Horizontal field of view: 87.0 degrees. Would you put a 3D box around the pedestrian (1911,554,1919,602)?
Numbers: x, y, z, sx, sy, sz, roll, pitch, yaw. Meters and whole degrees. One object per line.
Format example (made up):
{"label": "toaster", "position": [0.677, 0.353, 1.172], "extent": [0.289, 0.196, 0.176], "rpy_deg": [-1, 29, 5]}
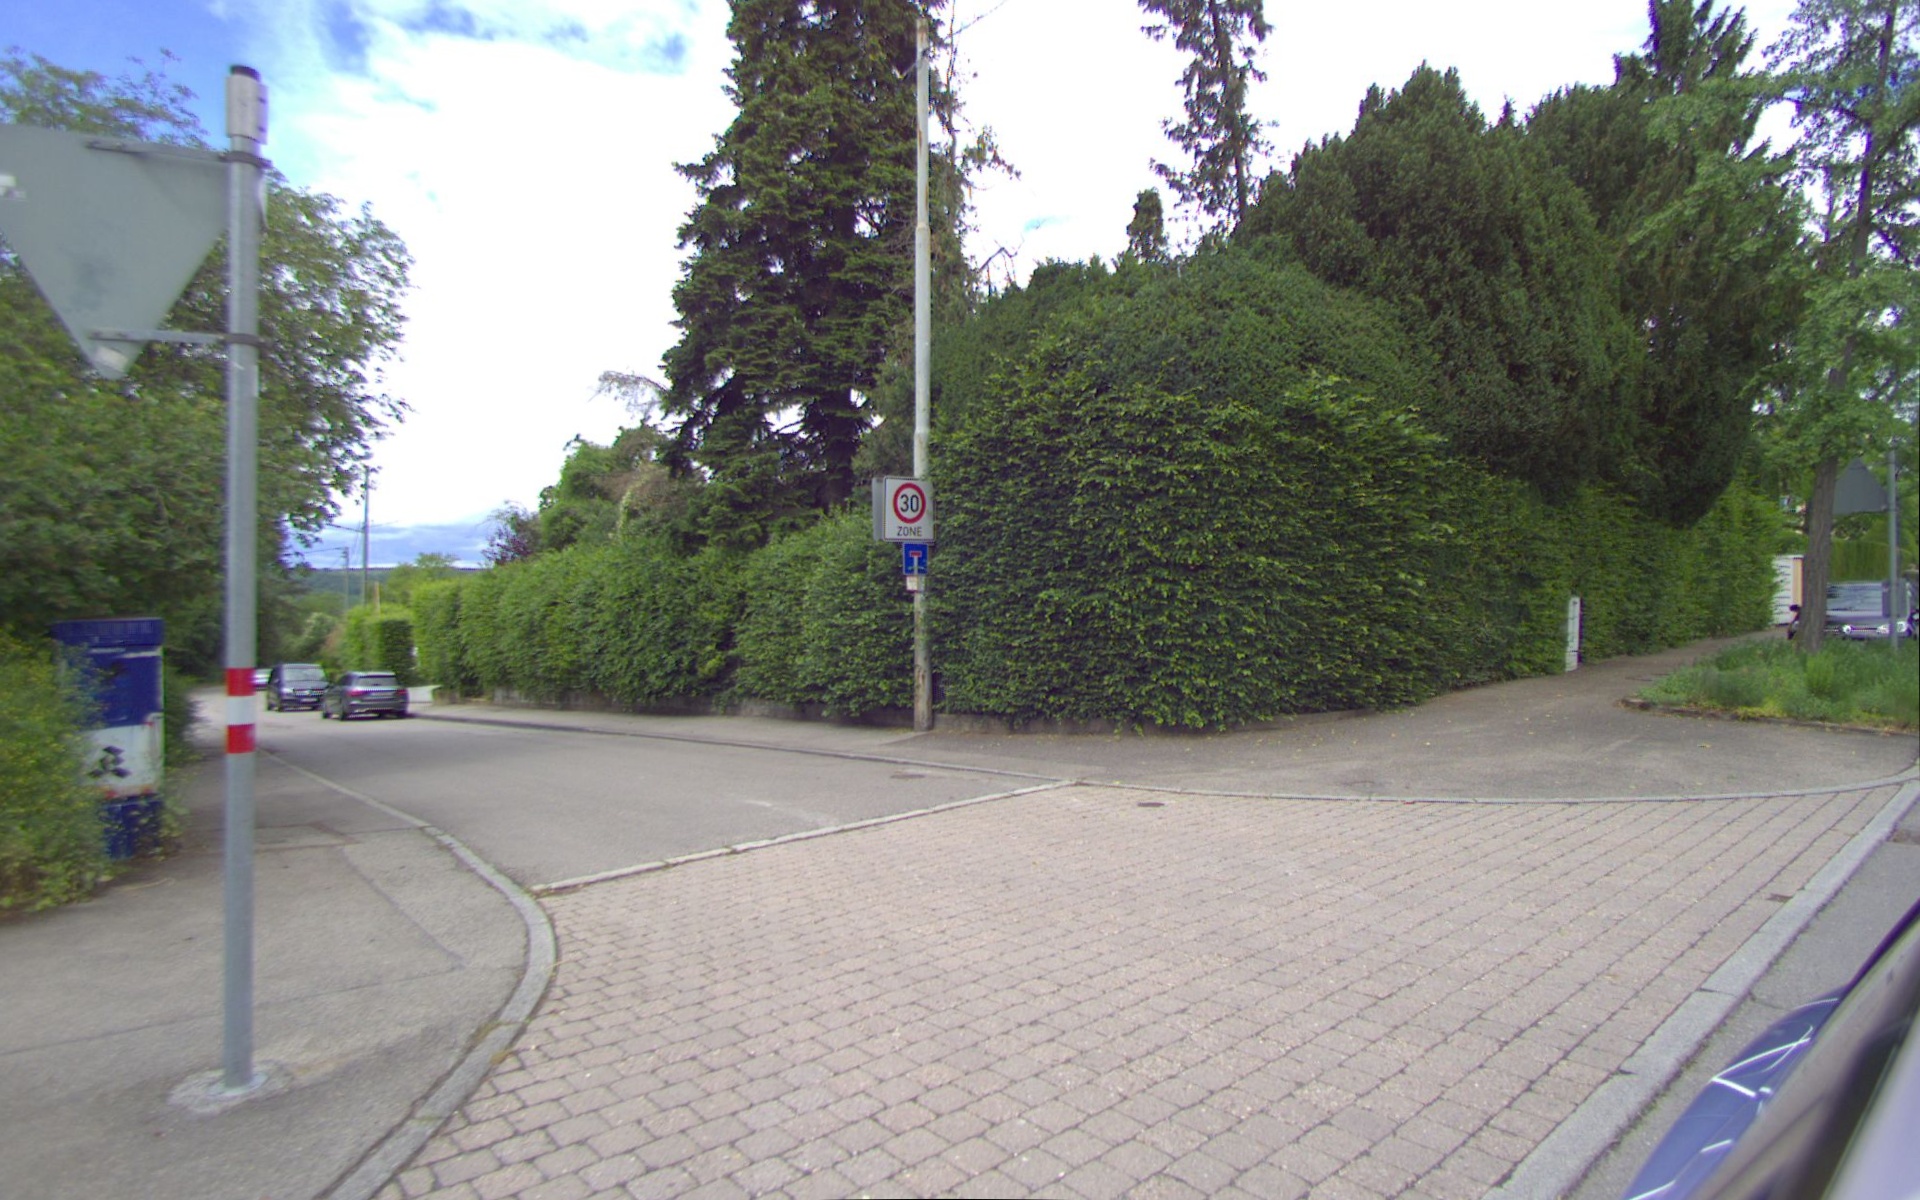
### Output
{"label": "pedestrian", "position": [35.268, -0.799, 36.909], "extent": [0.901, 1.719, 0.671], "rpy_deg": [-2, 3, -39]}

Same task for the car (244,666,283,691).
{"label": "car", "position": [-45.240, 5.073, 65.734], "extent": [1.827, 1.467, 3.788], "rpy_deg": [-2, -2, -38]}

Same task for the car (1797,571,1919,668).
{"label": "car", "position": [15.751, 0.261, 17.339], "extent": [3.676, 1.491, 1.626], "rpy_deg": [-2, 1, -41]}

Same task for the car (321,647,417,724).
{"label": "car", "position": [-18.116, 2.523, 30.937], "extent": [1.964, 2.039, 3.996], "rpy_deg": [-2, 0, -38]}

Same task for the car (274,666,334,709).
{"label": "car", "position": [-28.635, 3.789, 44.138], "extent": [1.827, 1.655, 3.788], "rpy_deg": [-2, -2, -38]}
